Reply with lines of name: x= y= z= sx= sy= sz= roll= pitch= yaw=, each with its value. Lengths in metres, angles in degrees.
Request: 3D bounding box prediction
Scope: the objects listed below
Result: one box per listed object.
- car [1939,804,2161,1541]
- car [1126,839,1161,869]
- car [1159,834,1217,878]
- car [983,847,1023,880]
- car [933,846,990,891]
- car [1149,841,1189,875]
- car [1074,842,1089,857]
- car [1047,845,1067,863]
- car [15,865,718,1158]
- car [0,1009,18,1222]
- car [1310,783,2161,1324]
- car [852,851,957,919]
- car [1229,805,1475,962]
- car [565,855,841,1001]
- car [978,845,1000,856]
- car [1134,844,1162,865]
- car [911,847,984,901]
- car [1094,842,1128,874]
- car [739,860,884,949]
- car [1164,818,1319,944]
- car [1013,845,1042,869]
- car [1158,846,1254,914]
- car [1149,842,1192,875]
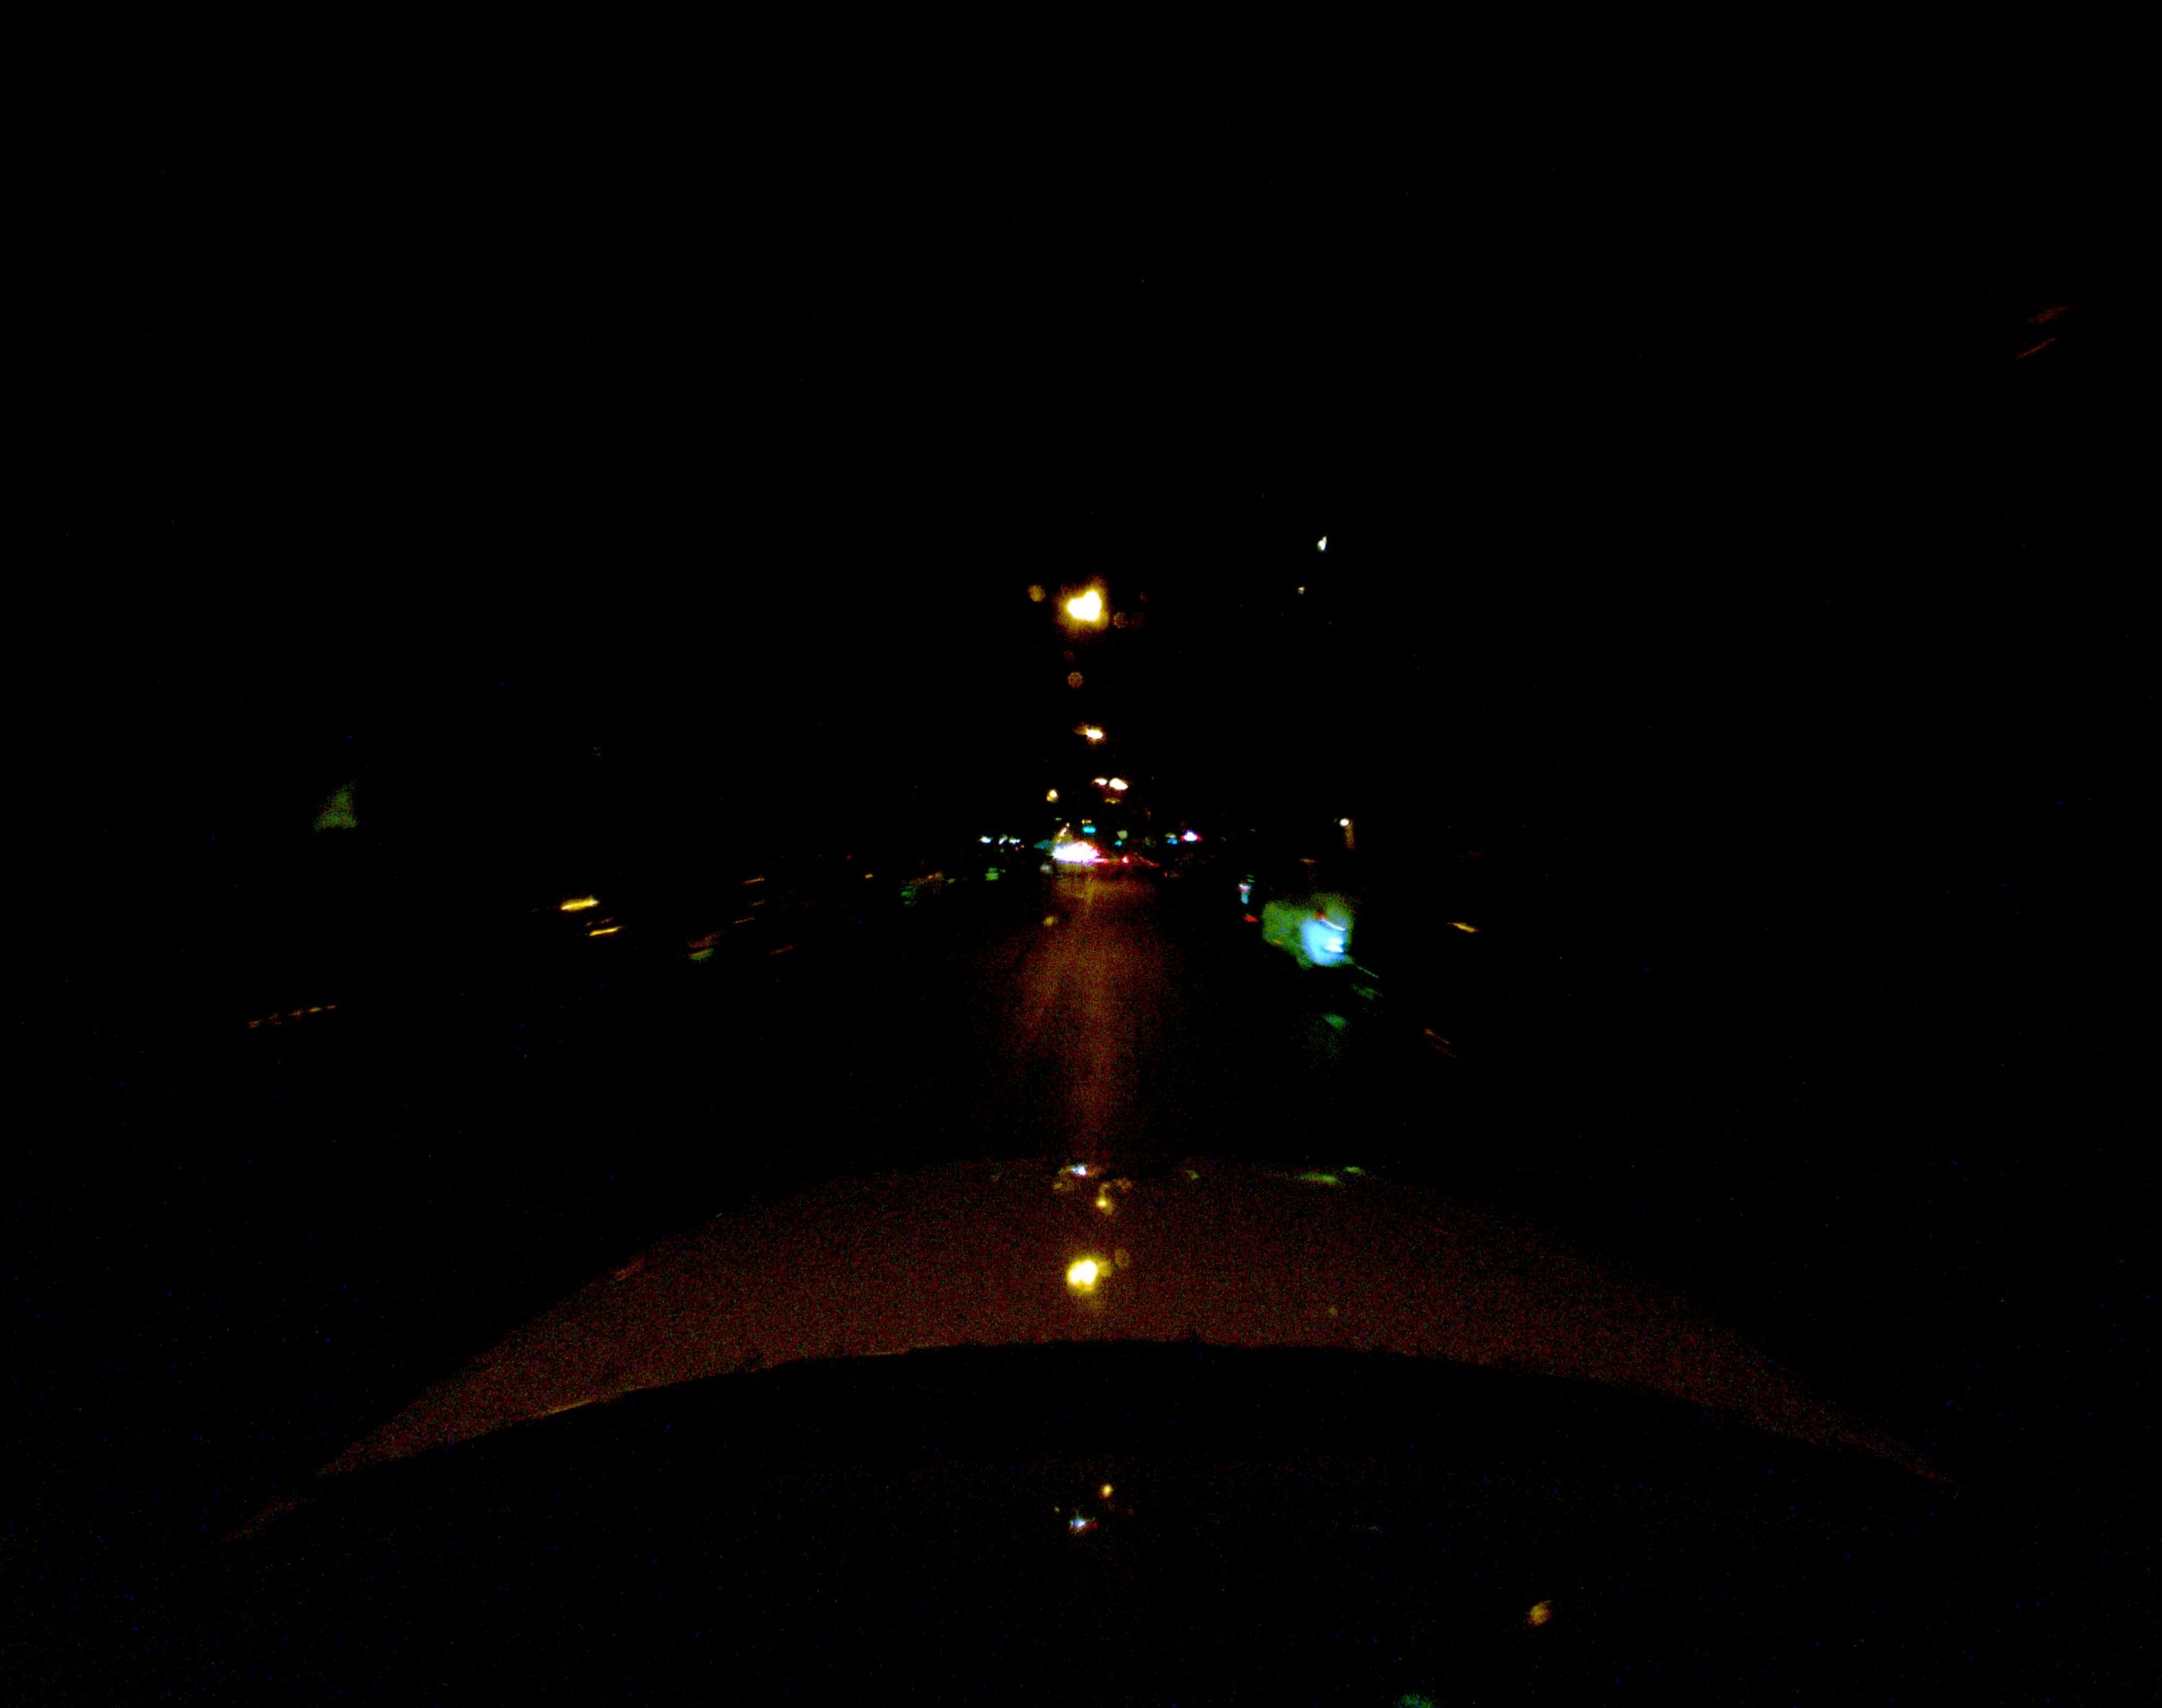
car: x=3.156 y=0.646 z=0.131 sx=1.790 sy=1.547 sz=3.950 roll=-4 pitch=1 yaw=-1
car: x=3.640 y=-0.025 z=47.234 sx=1.816 sy=1.547 sz=4.358 roll=-4 pitch=1 yaw=4
car: x=4.158 y=0.053 z=32.177 sx=1.669 sy=1.487 sz=4.280 roll=-4 pitch=1 yaw=0
car: x=-4.034 y=0.454 z=42.453 sx=1.425 sy=1.460 sz=3.377 roll=-6 pitch=1 yaw=3
car: x=-4.902 y=0.539 z=34.009 sx=1.742 sy=1.597 sz=4.387 roll=-6 pitch=1 yaw=-3
car: x=4.531 y=0.145 z=42.408 sx=1.747 sy=1.547 sz=4.982 roll=-4 pitch=1 yaw=3
car: x=0.100 y=-0.750 z=124.599 sx=2.029 sy=1.953 sz=5.197 roll=-5 pitch=2 yaw=-2
car: x=-2.417 y=-0.003 z=83.156 sx=1.592 sy=1.563 sz=4.382 roll=-6 pitch=1 yaw=2
car: x=-5.137 y=0.942 z=6.991 sx=1.612 sy=1.418 sz=4.680 roll=-4 pitch=1 yaw=3
car: x=-5.791 y=0.960 z=1.655 sx=1.699 sy=1.539 sz=4.063 roll=-4 pitch=1 yaw=3
car: x=3.058 y=0.574 z=4.933 sx=1.862 sy=1.579 sz=4.746 roll=-4 pitch=1 yaw=-1
car: x=-4.898 y=0.788 z=23.225 sx=1.659 sy=1.539 sz=4.395 roll=-6 pitch=1 yaw=3
car: x=3.275 y=0.289 z=10.711 sx=1.790 sy=1.547 sz=3.950 roll=-4 pitch=1 yaw=-1
car: x=-5.149 y=0.887 z=11.882 sx=1.659 sy=1.539 sz=4.395 roll=-4 pitch=1 yaw=3
car: x=-13.893 y=-0.524 z=123.125 sx=1.699 sy=1.431 sz=3.940 roll=-3 pitch=1 yaw=21
car: x=5.137 y=0.015 z=63.171 sx=1.816 sy=1.421 sz=4.490 roll=-4 pitch=1 yaw=1
car: x=-4.578 y=0.619 z=28.509 sx=1.660 sy=1.539 sz=4.391 roll=-6 pitch=1 yaw=0
car: x=2.070 y=0.261 z=56.427 sx=2.160 sy=1.971 sz=4.304 roll=-4 pitch=1 yaw=2
car: x=-5.865 y=1.022 z=18.319 sx=1.660 sy=1.539 sz=4.391 roll=-4 pitch=1 yaw=0
car: x=2.957 y=0.409 z=16.421 sx=1.790 sy=1.950 sz=5.852 roll=-4 pitch=1 yaw=-1
car: x=-3.693 y=0.161 z=57.026 sx=1.593 sy=1.431 sz=4.005 roll=-6 pitch=1 yaw=0
car: x=3.226 y=0.619 z=21.769 sx=1.790 sy=1.491 sz=4.127 roll=-4 pitch=1 yaw=-1
car: x=3.972 y=0.169 z=36.657 sx=1.451 sy=1.306 sz=3.629 roll=-4 pitch=1 yaw=0
